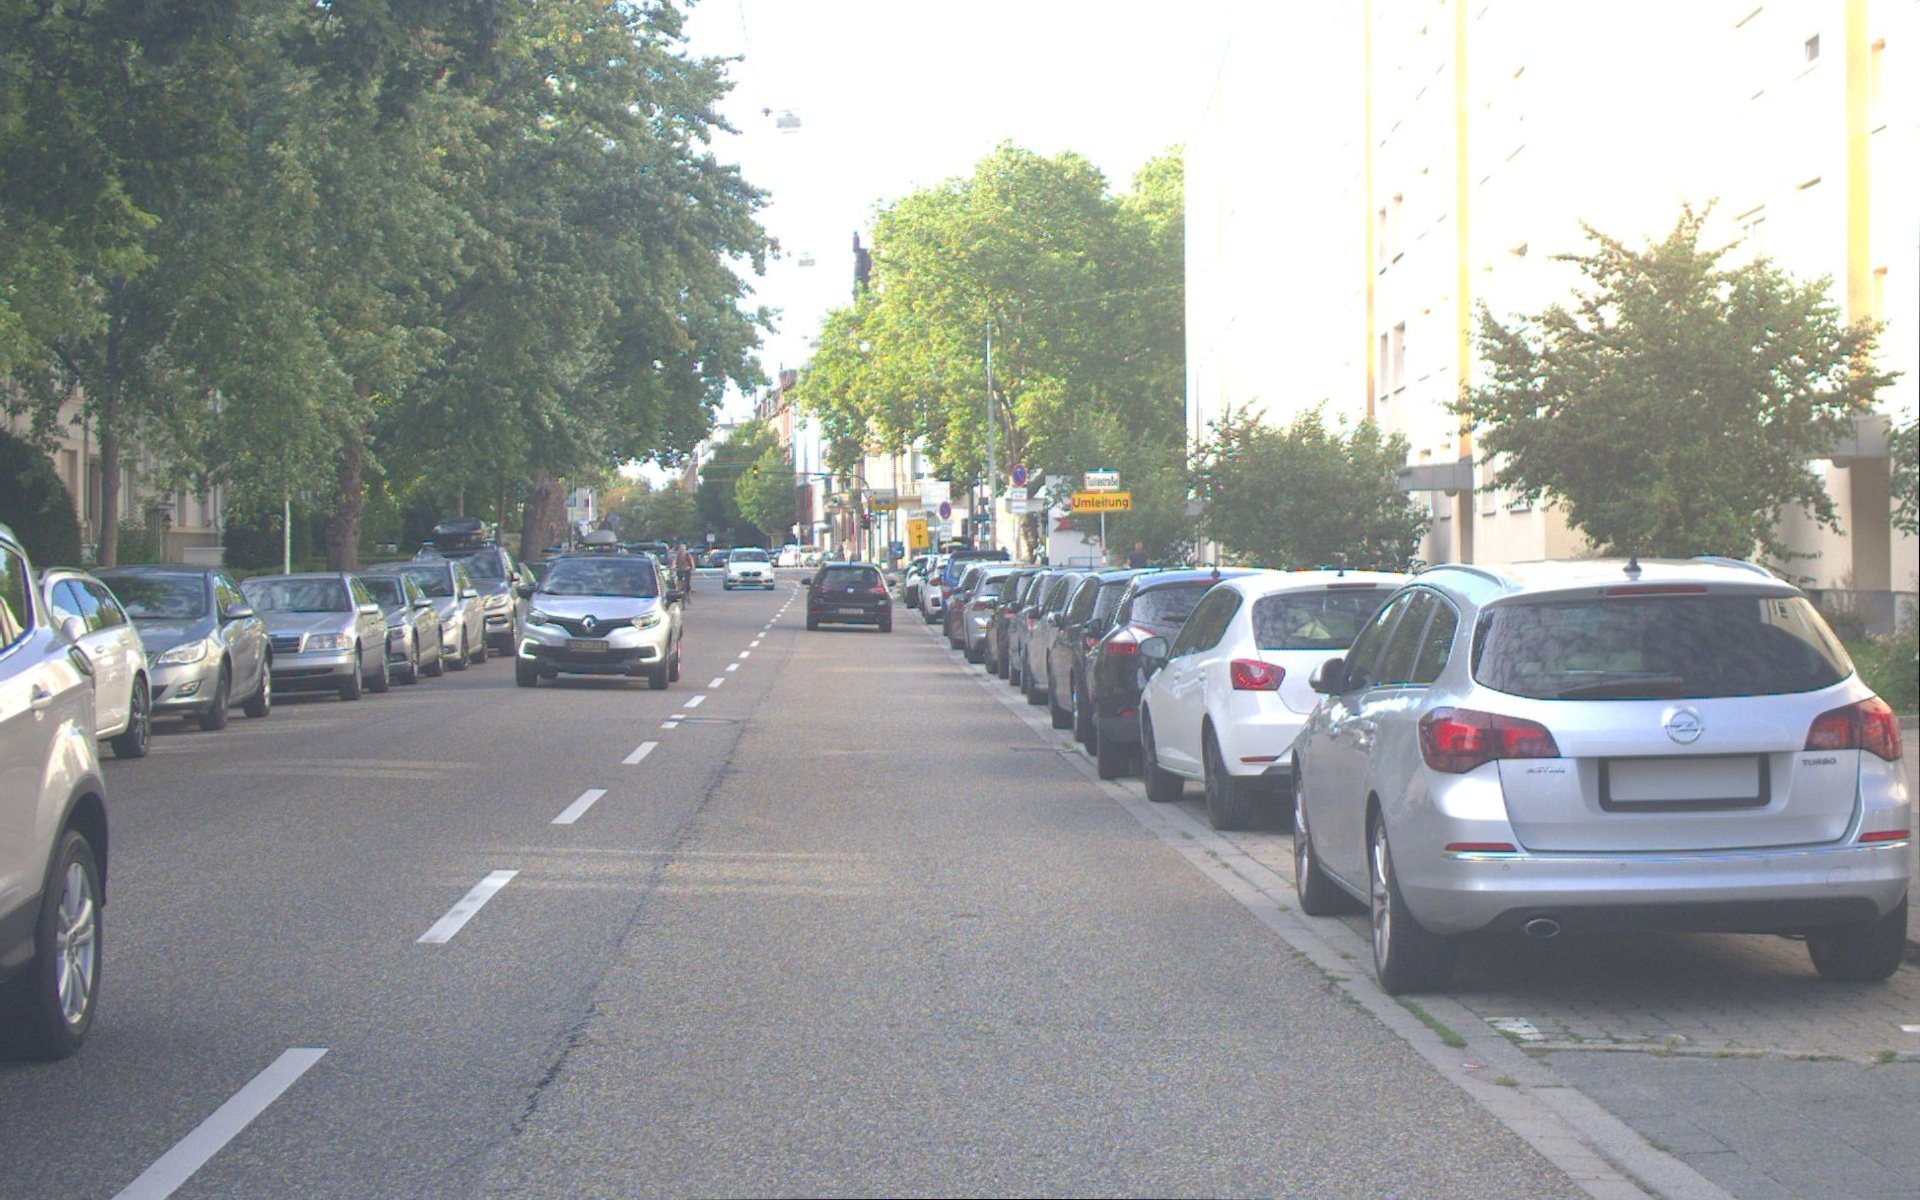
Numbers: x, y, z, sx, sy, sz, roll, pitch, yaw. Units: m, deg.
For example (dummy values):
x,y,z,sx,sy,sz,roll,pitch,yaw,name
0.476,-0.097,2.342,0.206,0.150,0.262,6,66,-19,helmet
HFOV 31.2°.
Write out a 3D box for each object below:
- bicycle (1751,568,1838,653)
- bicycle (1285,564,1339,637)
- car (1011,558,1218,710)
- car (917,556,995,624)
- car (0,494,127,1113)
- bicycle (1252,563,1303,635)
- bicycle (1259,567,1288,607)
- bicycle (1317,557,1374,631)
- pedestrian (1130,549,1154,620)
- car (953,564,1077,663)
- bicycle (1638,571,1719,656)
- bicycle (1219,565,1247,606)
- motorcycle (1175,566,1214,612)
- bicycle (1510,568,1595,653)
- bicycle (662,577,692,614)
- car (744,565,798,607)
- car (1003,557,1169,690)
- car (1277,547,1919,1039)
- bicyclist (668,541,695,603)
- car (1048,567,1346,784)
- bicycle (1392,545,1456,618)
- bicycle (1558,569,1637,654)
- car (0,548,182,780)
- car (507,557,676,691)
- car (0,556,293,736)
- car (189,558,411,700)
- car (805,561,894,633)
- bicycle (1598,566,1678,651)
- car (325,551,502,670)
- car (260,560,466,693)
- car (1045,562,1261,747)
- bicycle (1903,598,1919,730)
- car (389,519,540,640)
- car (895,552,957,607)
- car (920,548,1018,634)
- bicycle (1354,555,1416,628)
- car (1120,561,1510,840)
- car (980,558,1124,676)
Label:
x,y,z,sx,sy,sz,roll,pitch,yaw,name
10.621,0.120,43.804,0.501,1.027,2.135,-3,1,-1,bicycle
6.420,-0.008,62.733,0.604,1.286,2.635,-2,1,-2,bicycle
1.565,0.314,36.199,1.699,1.458,4.180,-1,1,-4,car
-0.115,-0.251,79.312,1.728,1.482,4.642,-1,1,-1,car
-3.450,0.527,8.518,1.829,1.663,4.085,2,1,-2,car
5.784,-0.033,62.704,0.604,1.286,2.635,-1,1,-2,bicycle
7.371,-0.309,80.909,0.458,0.924,1.517,-1,1,-3,bicycle
7.025,-0.128,62.727,0.595,1.286,2.635,-3,1,-2,bicycle
4.435,-0.374,83.767,0.542,1.715,0.771,-1,1,3,pedestrian
0.811,0.174,52.998,1.661,1.411,4.059,-2,1,-2,car
9.162,0.161,43.891,0.501,1.027,2.026,-3,1,-2,bicycle
6.417,-0.345,80.848,0.458,0.938,1.517,-1,1,-3,bicycle
5.496,-0.260,80.778,0.630,1.041,2.394,-1,1,-3,motorcycle
7.532,0.123,43.764,0.593,1.027,2.119,-3,1,-2,bicycle
-7.276,-0.117,88.402,0.642,0.920,1.858,-1,1,-2,bicycle
-7.056,-0.542,128.620,1.859,1.523,4.011,0,1,-1,car
1.477,0.247,41.604,1.683,1.480,4.294,-1,1,-2,car
2.298,0.579,13.055,1.763,1.518,4.330,-1,1,0,car
-7.160,-0.725,88.408,0.641,1.595,0.990,-1,1,-2,bicyclist
1.689,0.500,25.779,1.683,1.430,4.207,-1,1,-3,car
8.469,-0.343,62.829,0.726,1.286,2.635,1,1,-2,bicycle
8.124,0.137,43.885,0.501,1.027,2.096,-3,1,-2,bicycle
-7.007,0.429,24.619,1.855,1.481,4.799,-4,1,-2,car
-4.314,0.244,40.750,1.740,1.496,4.010,0,1,-3,car
-7.433,0.366,31.766,1.855,1.481,4.684,-1,1,-3,car
-7.332,0.279,38.593,1.738,1.388,4.666,-3,1,-3,car
-2.314,-0.090,71.469,1.751,1.409,4.001,1,1,-3,car
8.645,0.093,43.895,0.501,1.027,2.069,-3,1,-2,bicycle
-7.760,0.111,49.187,1.855,1.568,4.460,-2,1,-1,car
-7.571,0.287,44.017,1.855,1.481,4.945,-3,1,-2,car
1.661,0.434,30.658,1.683,1.496,3.874,-1,1,0,car
7.578,0.479,25.589,0.596,0.994,1.692,0,-1,-2,bicycle
-7.881,-0.359,55.036,1.877,1.787,4.971,-2,1,-3,car
-0.966,-0.604,99.735,1.690,1.523,4.238,2,1,1,car
0.151,-0.197,68.931,1.728,1.644,4.117,-1,1,-3,car
7.750,-0.165,62.749,0.726,1.286,2.635,-1,1,-2,bicycle
2.032,0.524,20.810,1.683,1.463,4.207,-1,1,-3,car
1.211,0.201,46.697,1.661,1.486,3.942,-2,1,-2,car
